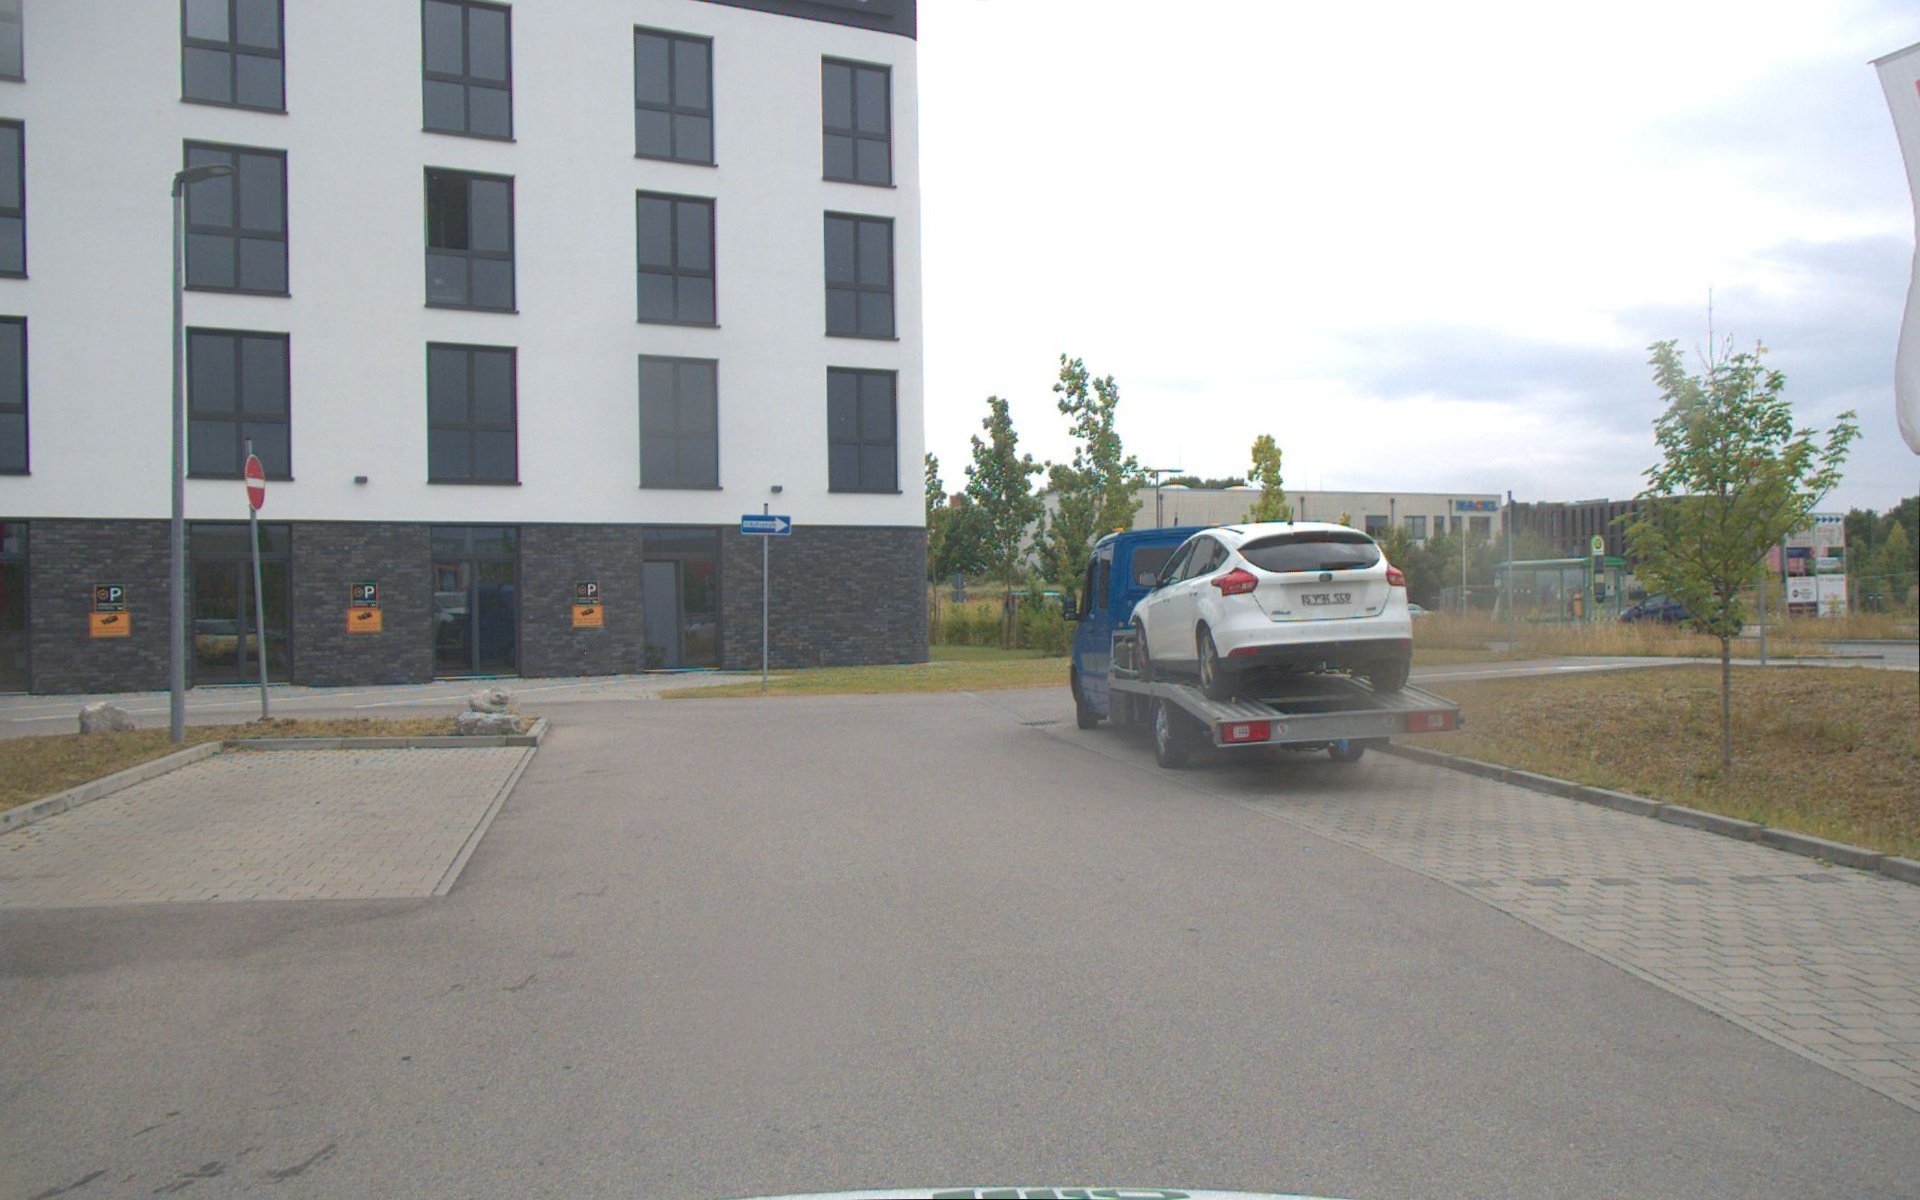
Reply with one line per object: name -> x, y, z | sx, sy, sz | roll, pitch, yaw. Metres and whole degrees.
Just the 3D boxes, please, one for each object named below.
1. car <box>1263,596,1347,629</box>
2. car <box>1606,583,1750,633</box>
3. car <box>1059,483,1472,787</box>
car -> 14.002, 0.493, 67.260 | 1.687, 1.246, 3.983 | -1, 0, -16
car -> 20.664, 0.212, 47.777 | 1.687, 1.347, 3.982 | -1, 0, -16
car -> 2.666, 0.293, 17.003 | 2.151, 2.363, 7.848 | -1, 0, -5
